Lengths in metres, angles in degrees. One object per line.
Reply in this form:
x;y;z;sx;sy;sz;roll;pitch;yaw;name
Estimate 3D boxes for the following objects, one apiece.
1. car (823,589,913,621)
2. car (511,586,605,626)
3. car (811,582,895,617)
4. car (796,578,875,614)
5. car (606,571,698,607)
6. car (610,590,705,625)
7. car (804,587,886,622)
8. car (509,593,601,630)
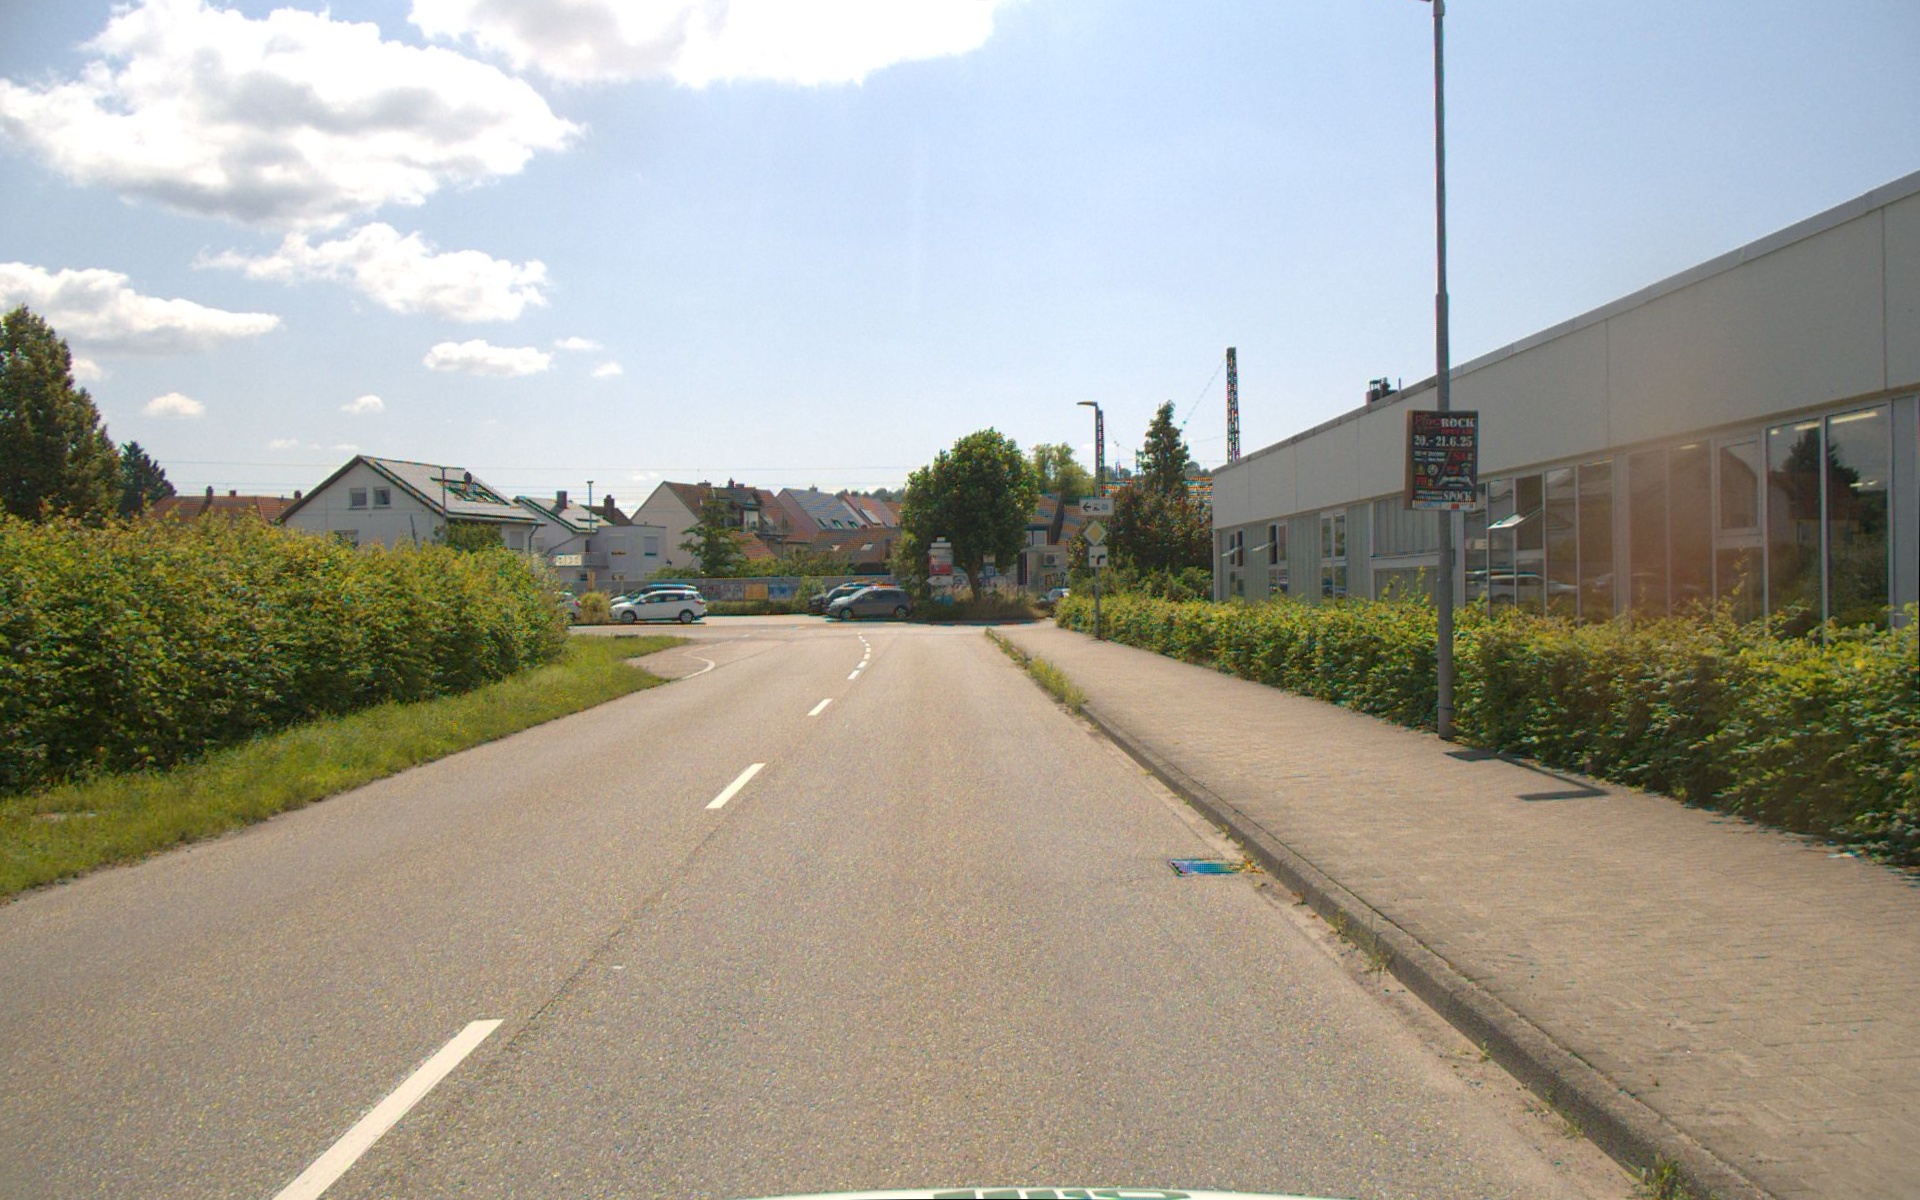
-4.369;0.239;78.440;4.111;1.488;1.661;0;0;-10;car
-18.862;0.259;77.491;4.097;1.667;1.945;-3;1;-18;car
-5.243;-0.025;80.776;3.915;1.614;1.775;-1;0;-11;car
-6.469;-0.205;85.836;3.915;1.760;1.765;1;-1;-11;car
-15.040;-0.563;80.838;4.371;1.720;1.996;0;1;-10;car
-13.962;0.358;76.276;4.209;1.502;1.821;1;-1;-14;car
-5.809;0.218;83.129;3.916;1.686;1.995;-1;0;-11;car
-18.454;0.523;75.316;3.940;1.589;1.812;-1;0;-20;car
